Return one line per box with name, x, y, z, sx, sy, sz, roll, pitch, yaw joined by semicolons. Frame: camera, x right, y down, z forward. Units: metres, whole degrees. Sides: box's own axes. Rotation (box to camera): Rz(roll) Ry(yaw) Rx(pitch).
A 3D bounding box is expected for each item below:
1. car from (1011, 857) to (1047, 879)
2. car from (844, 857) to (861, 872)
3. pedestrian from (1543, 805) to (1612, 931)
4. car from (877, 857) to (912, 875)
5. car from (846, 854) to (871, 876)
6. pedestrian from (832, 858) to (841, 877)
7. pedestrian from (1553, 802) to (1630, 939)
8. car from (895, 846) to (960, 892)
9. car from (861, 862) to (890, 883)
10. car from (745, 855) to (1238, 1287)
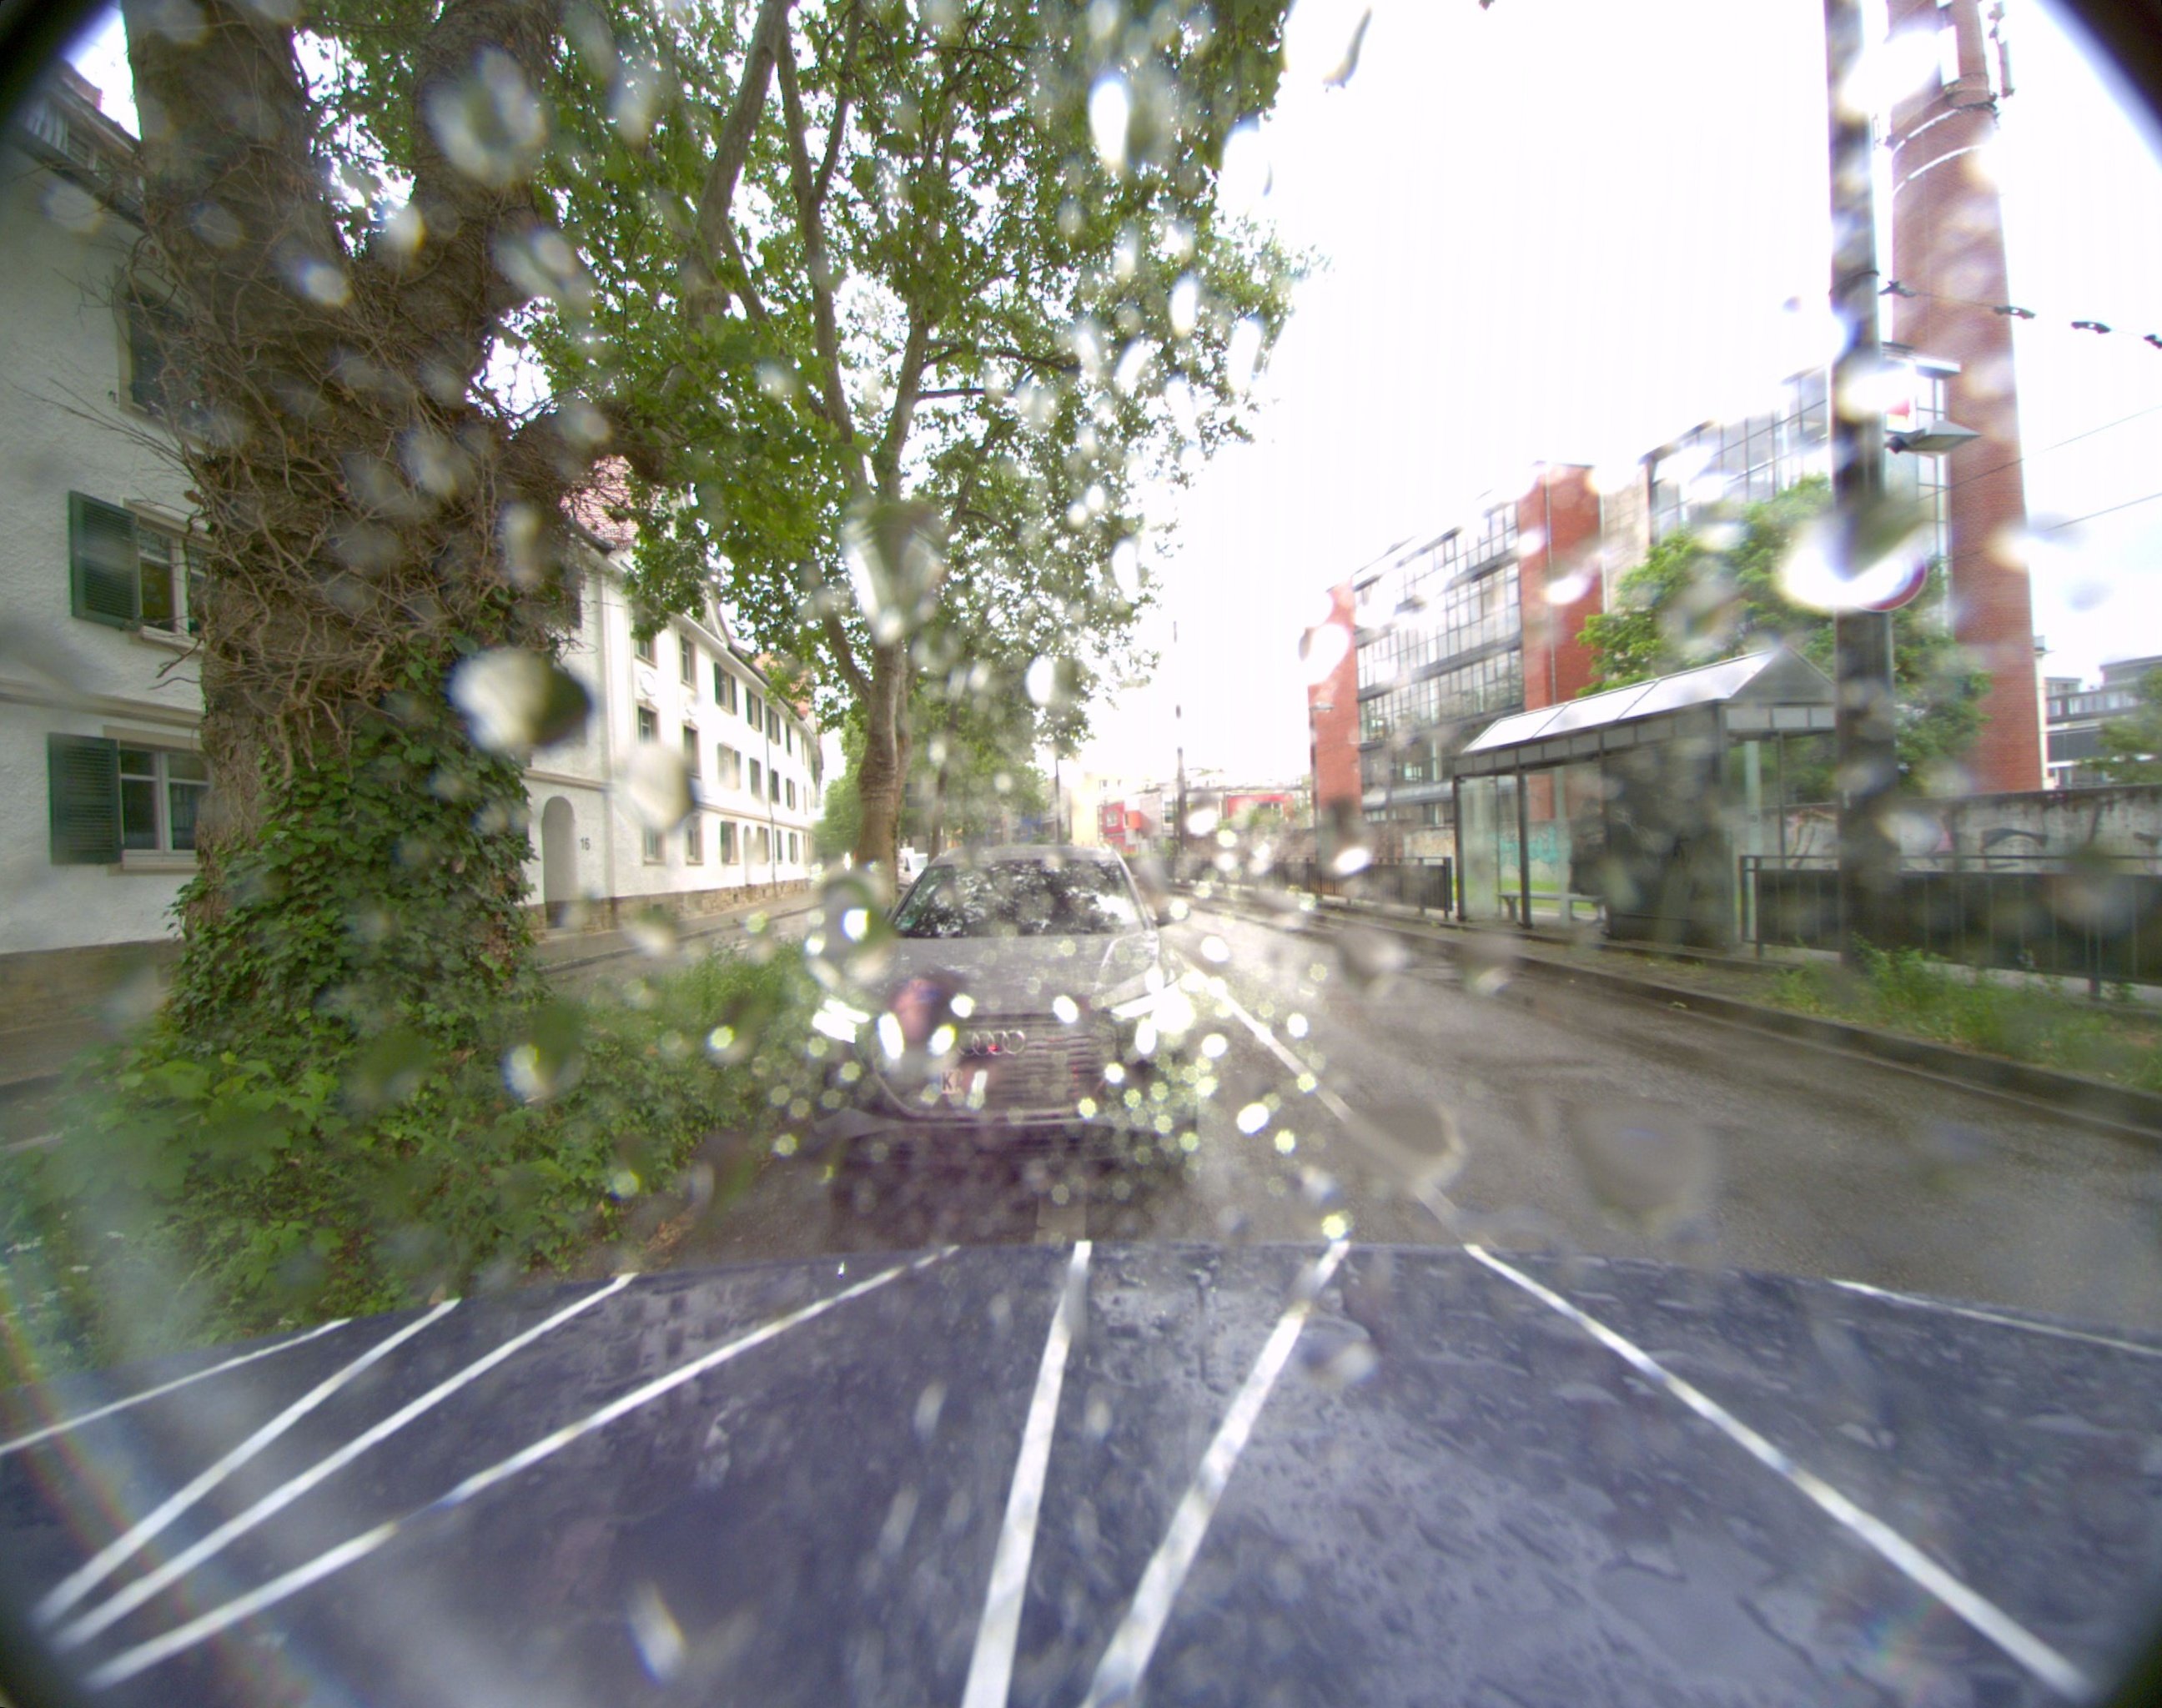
car;-3.709;0.943;53.745;1.720;1.451;3.742;-2;1;-16
car;-31.977;1.490;106.226;2.002;2.001;3.993;3;-1;-20
pedestrian;7.049;0.193;10.810;0.629;1.738;0.514;-2;1;9
car;-23.207;1.486;94.654;4.002;2.002;1.997;-2;0;-17
car;-21.928;1.092;74.761;2.002;2.001;3.993;3;-1;-20
pedestrian;-23.245;1.281;72.234;0.674;1.811;0.678;-3;1;-18
pedestrian;6.734;0.214;10.039;0.629;1.738;0.564;-2;1;9
car;-8.376;0.771;41.030;2.199;2.250;5.401;-3;0;-24
car;-16.477;1.479;60.833;1.834;1.517;3.993;-3;1;-19
car;-0.412;0.870;5.114;1.917;1.632;4.106;-2;0;-2
